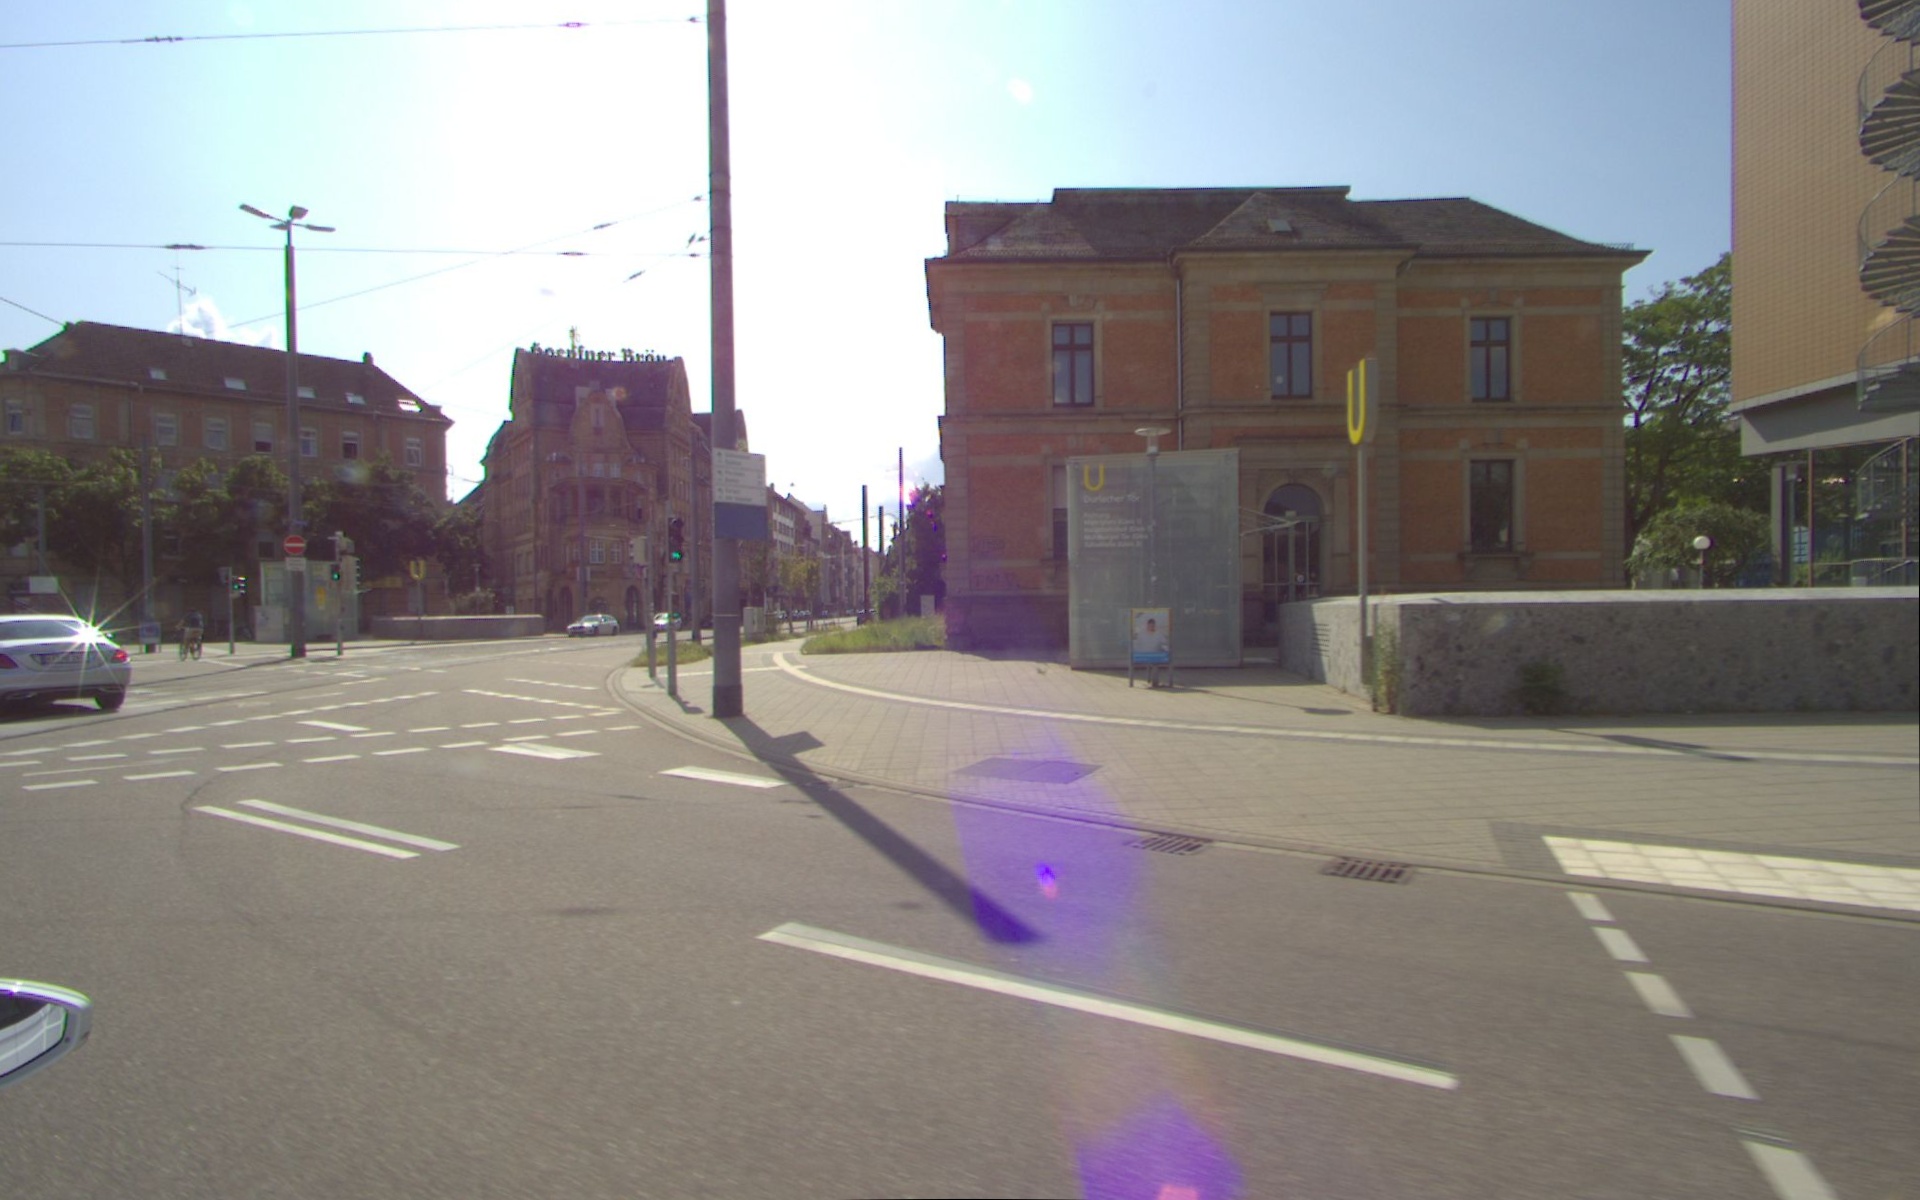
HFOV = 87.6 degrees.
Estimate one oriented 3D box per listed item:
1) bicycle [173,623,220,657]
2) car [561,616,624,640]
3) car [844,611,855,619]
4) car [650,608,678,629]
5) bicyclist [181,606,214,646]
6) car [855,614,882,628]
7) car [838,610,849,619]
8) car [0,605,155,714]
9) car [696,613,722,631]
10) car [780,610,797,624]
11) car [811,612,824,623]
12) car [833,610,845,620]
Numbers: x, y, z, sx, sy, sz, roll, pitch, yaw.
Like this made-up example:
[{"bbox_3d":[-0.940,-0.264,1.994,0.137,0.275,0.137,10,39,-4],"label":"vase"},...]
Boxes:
[{"bbox_3d":[-24.113,1.249,31.608,1.939,0.983,0.842,0,1,42],"label":"bicycle"},{"bbox_3d":[-24.319,1.853,66.386,2.007,1.448,4.538,-2,-1,7],"label":"car"},{"bbox_3d":[-24.523,3.327,222.227,1.961,1.839,4.001,-1,-1,-2],"label":"car"},{"bbox_3d":[-22.530,1.373,76.045,1.957,1.503,3.992,-1,-1,-18],"label":"car"},{"bbox_3d":[-24.036,0.802,31.552,0.913,1.236,0.632,0,1,41],"label":"bicyclist"},{"bbox_3d":[-9.338,2.113,102.110,1.961,1.394,4.000,-1,-1,6],"label":"car"},{"bbox_3d":[-24.198,3.025,208.433,1.961,1.839,4.001,-1,-1,-2],"label":"car"},{"bbox_3d":[-14.584,0.850,15.523,4.692,1.474,1.926,-1,-1,33],"label":"car"},{"bbox_3d":[-24.637,2.192,98.508,1.687,1.704,3.927,-1,-1,-2],"label":"car"},{"bbox_3d":[-24.569,2.438,143.453,1.961,1.839,4.001,-1,-1,-2],"label":"car"},{"bbox_3d":[-25.839,3.208,181.358,1.961,1.839,4.001,-1,-1,-2],"label":"car"},{"bbox_3d":[-23.959,2.920,197.687,1.961,1.839,4.001,-1,-1,-2],"label":"car"}]
